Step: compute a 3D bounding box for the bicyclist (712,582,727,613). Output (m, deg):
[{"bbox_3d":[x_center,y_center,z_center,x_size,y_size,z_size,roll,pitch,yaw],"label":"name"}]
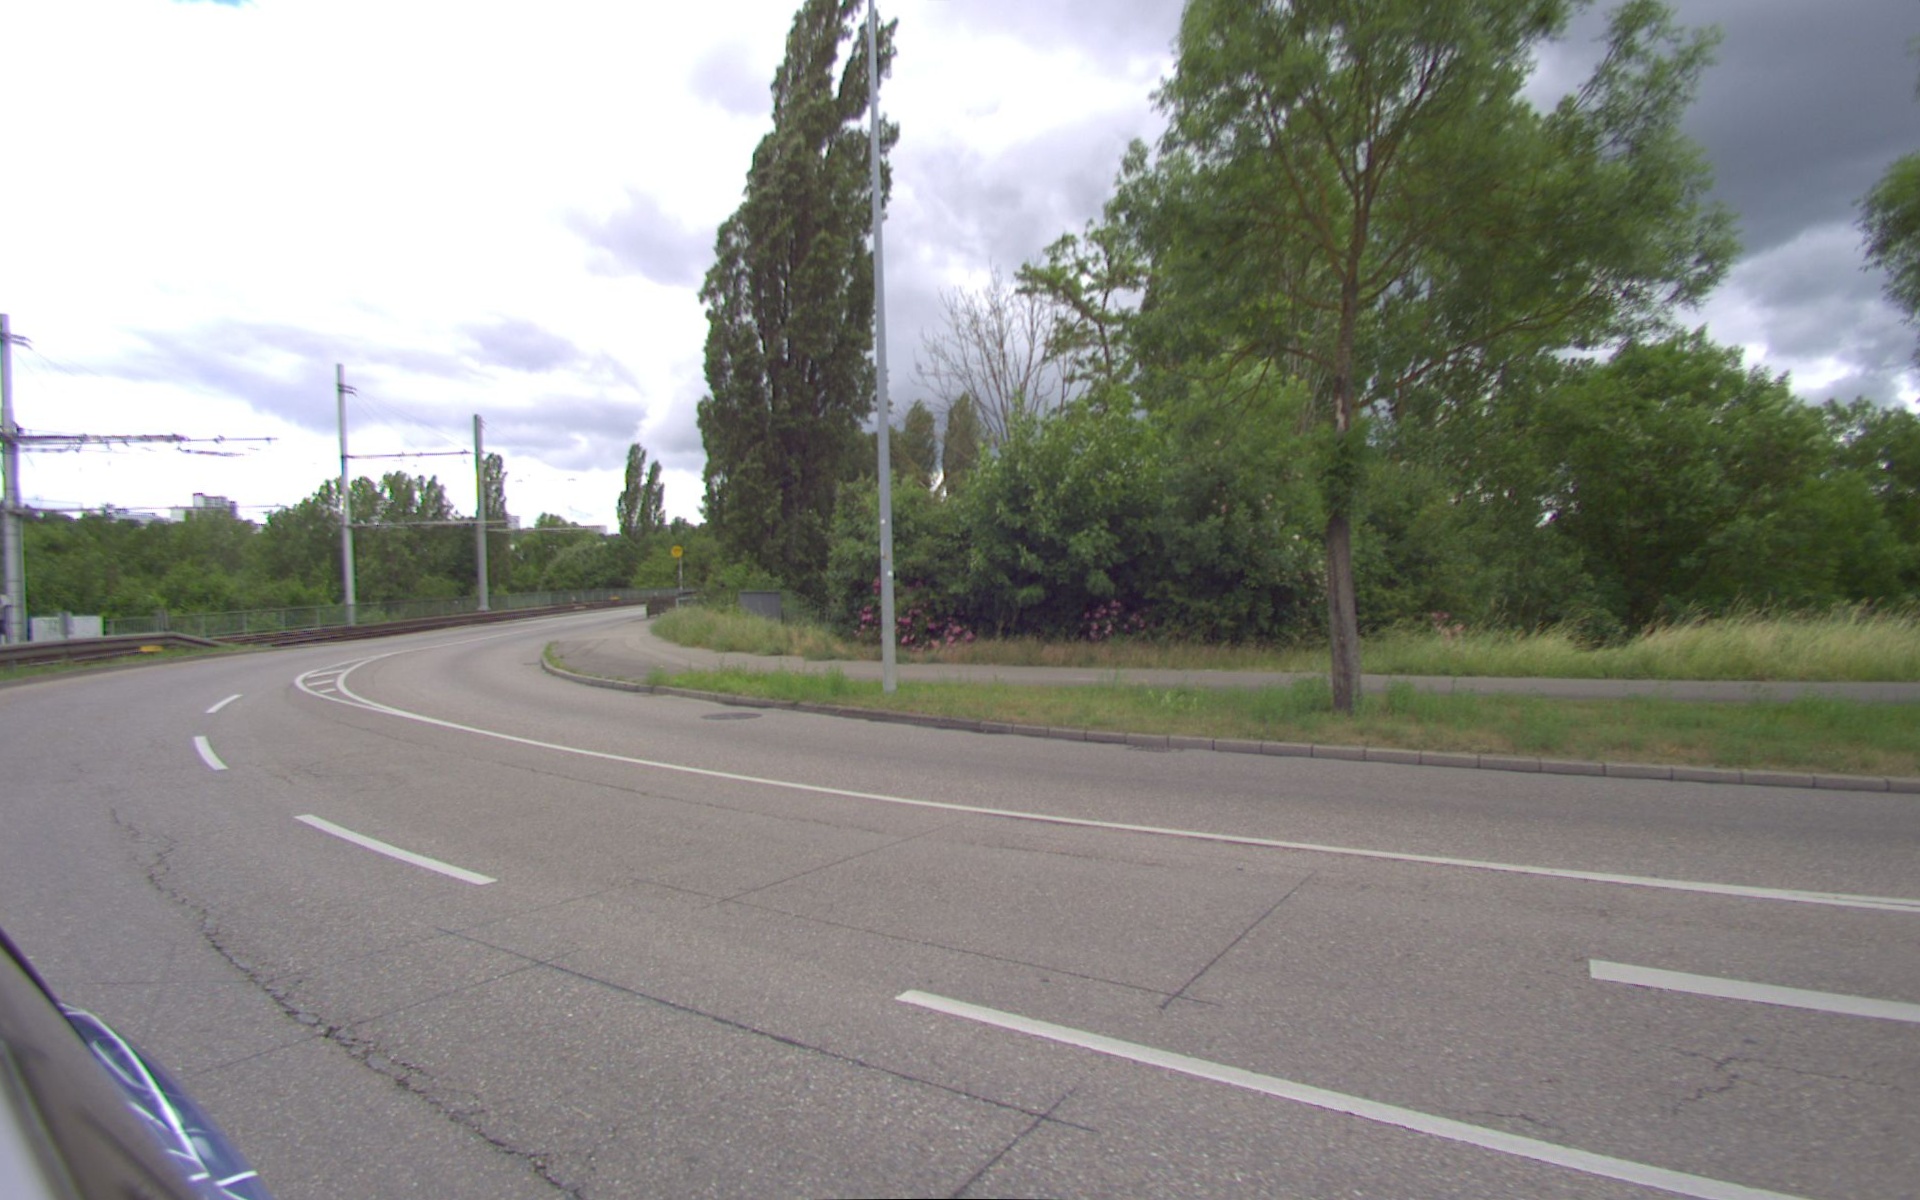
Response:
[{"bbox_3d":[-14.464,-0.172,60.857,0.619,1.822,0.902,-3,2,-4],"label":"bicyclist"}]
